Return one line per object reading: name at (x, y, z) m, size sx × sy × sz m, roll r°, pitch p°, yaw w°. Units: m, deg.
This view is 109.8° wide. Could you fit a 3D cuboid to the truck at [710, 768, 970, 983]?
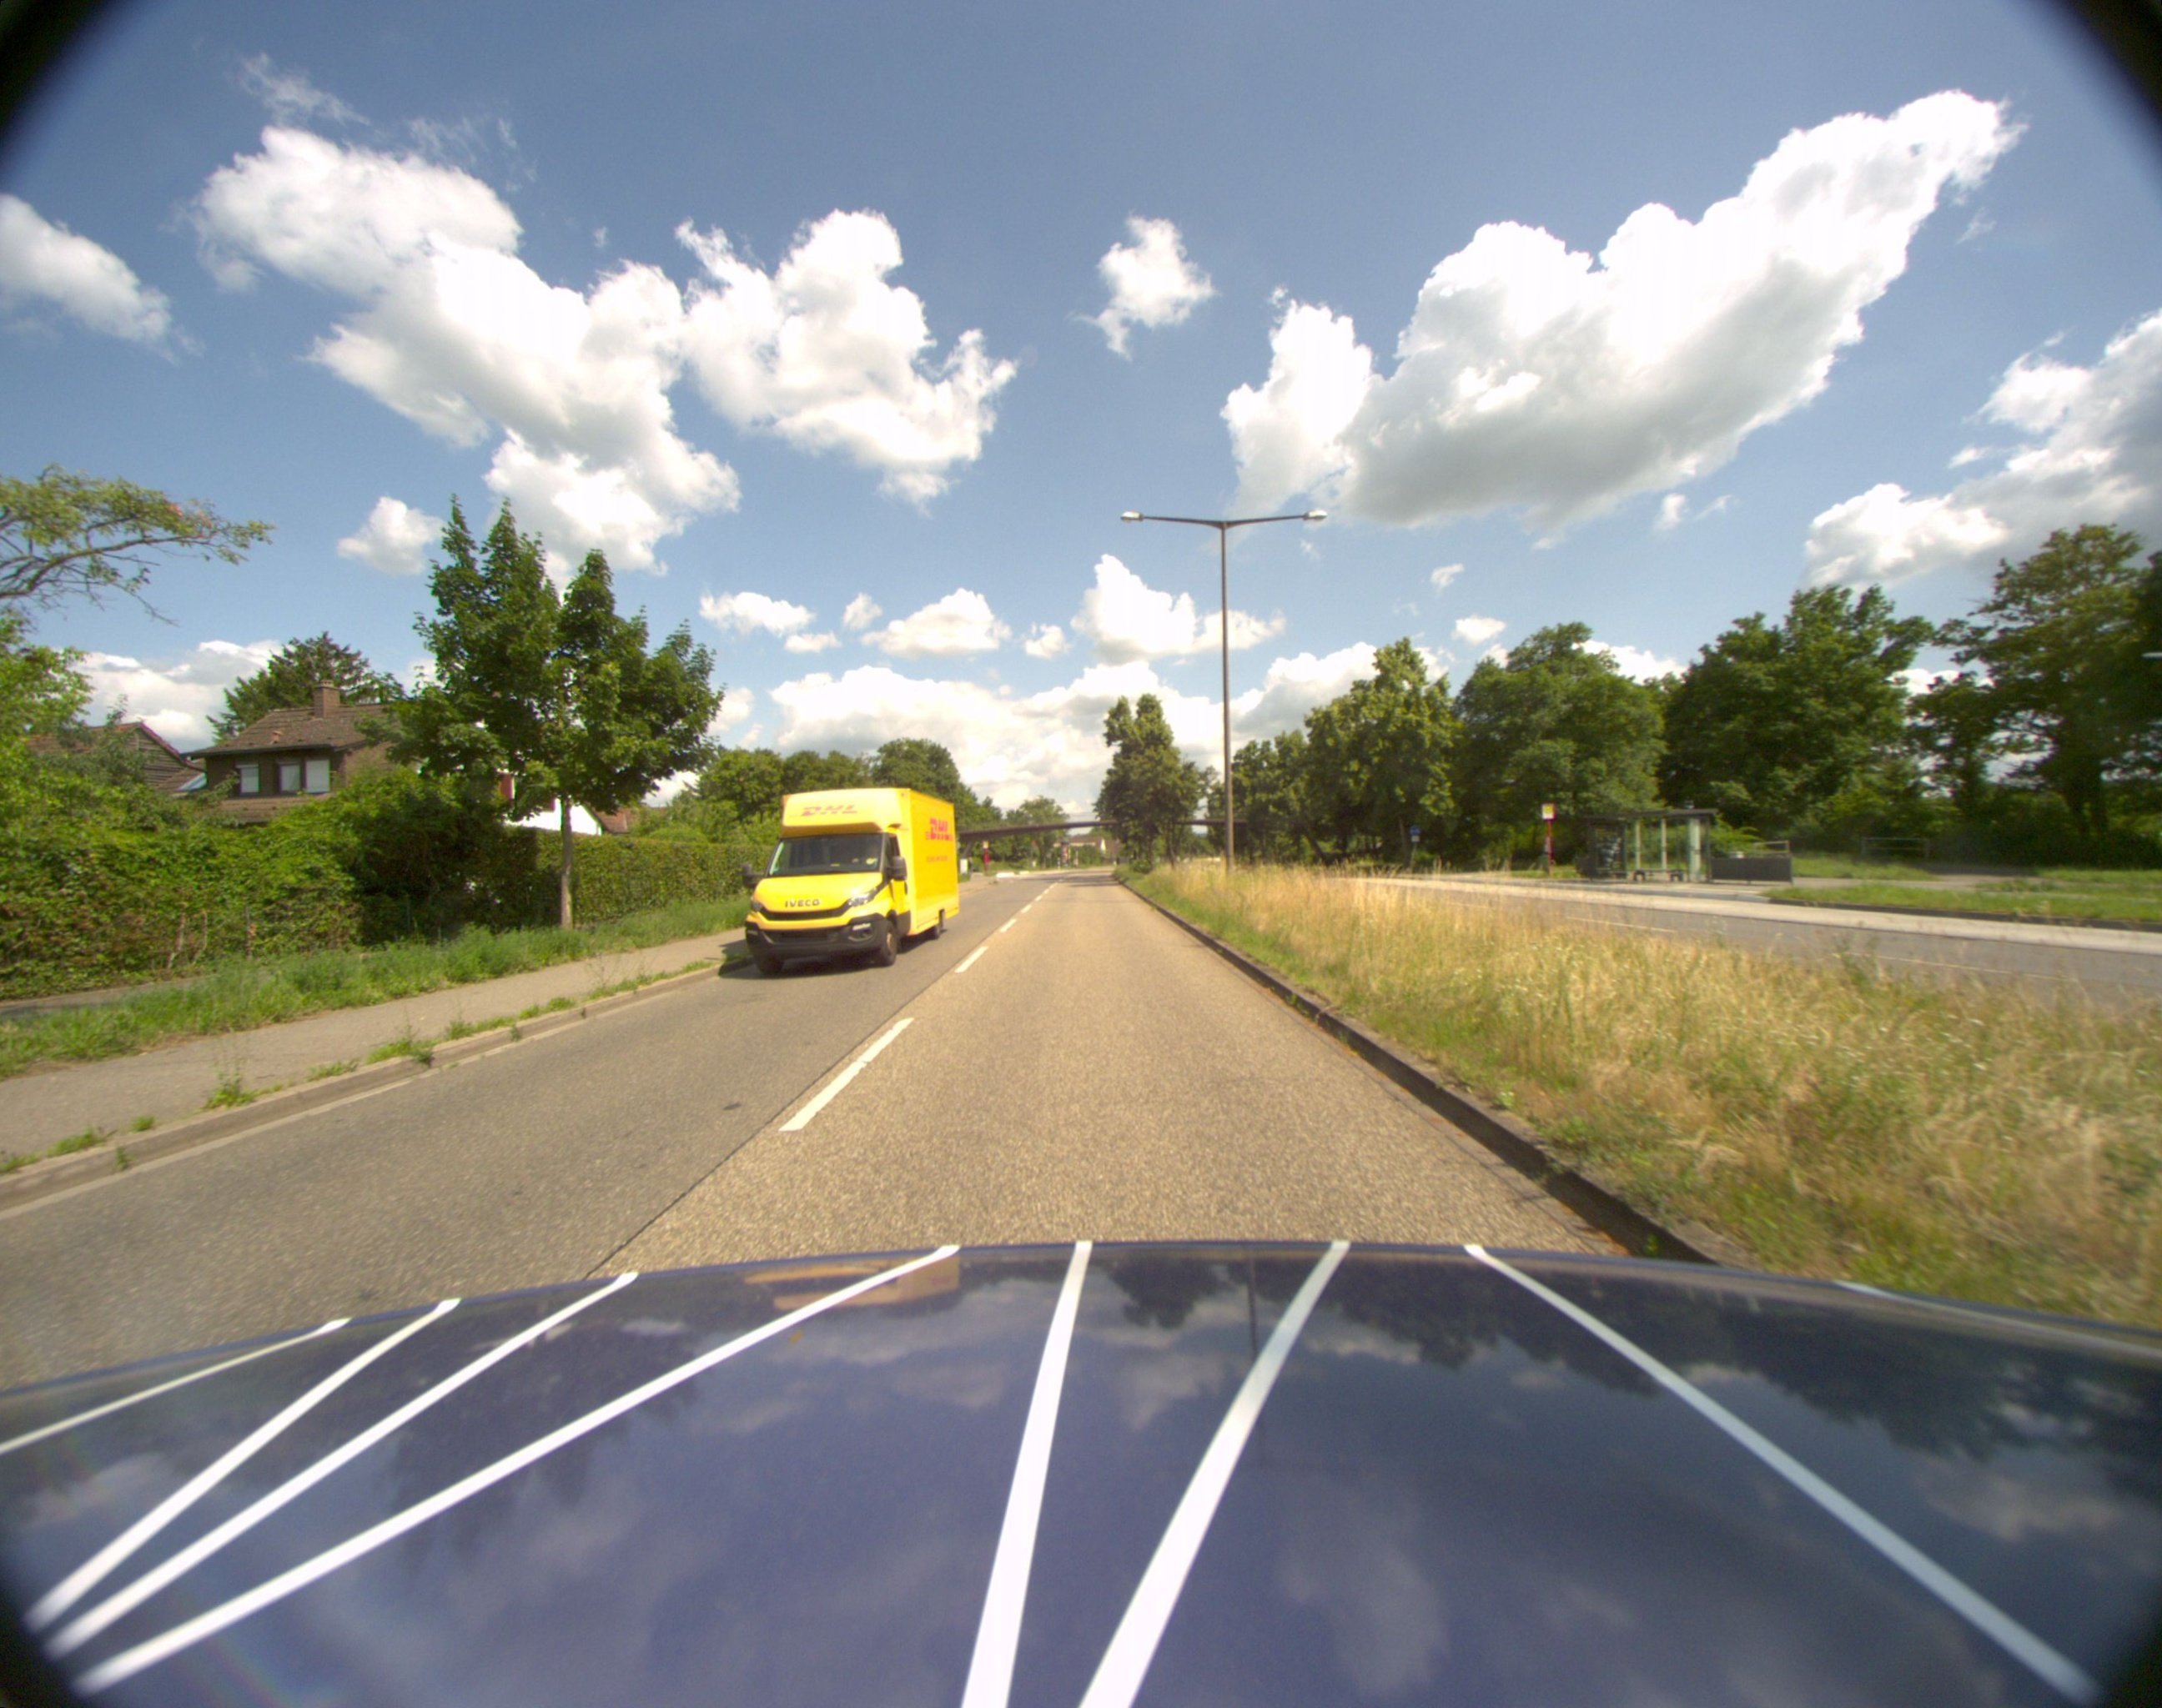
truck at (-3.907, 0.334, 14.484) m, size 2.270 × 2.863 × 8.028 m, roll -3°, pitch -1°, yaw 0°
